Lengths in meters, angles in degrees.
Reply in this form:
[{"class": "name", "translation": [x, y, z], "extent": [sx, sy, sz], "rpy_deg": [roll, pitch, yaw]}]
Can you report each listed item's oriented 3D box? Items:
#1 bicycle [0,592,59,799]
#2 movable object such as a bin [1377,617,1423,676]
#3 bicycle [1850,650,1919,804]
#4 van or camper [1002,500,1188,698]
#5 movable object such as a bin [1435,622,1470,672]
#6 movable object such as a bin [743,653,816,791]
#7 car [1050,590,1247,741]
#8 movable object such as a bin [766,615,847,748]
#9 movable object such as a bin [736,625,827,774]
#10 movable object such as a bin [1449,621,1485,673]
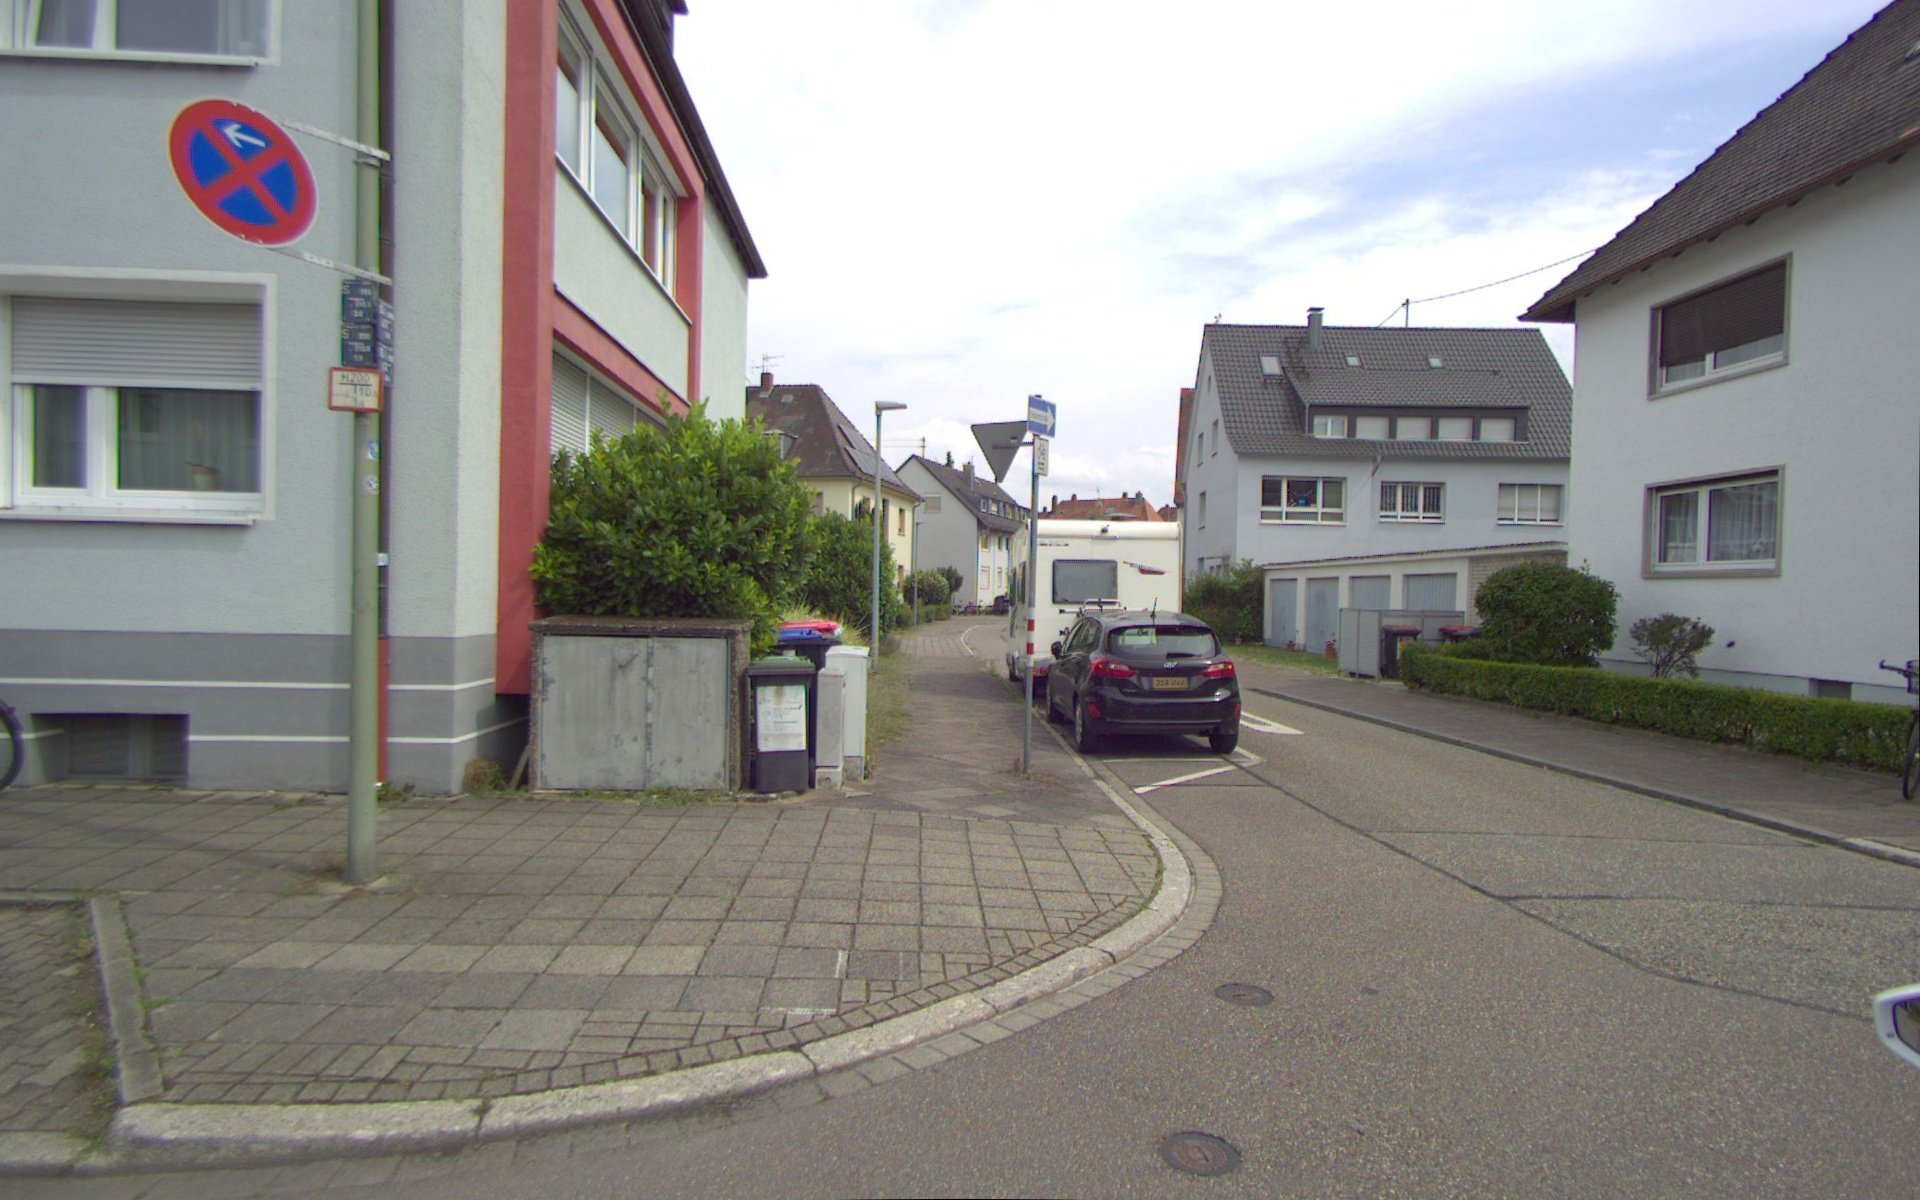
[{"class": "bicycle", "translation": [-6.478, 0.536, 5.876], "extent": [1.837, 1.168, 0.492], "rpy_deg": [1, 5, -4]}, {"class": "movable object such as a bin", "translation": [8.871, 0.938, 20.276], "extent": [0.570, 1.152, 0.754], "rpy_deg": [1, -1, -2]}, {"class": "bicycle", "translation": [7.796, 1.003, 7.665], "extent": [0.427, 1.195, 1.637], "rpy_deg": [1, -1, -7]}, {"class": "van or camper", "translation": [2.048, 0.056, 17.348], "extent": [2.364, 2.761, 6.163], "rpy_deg": [1, -1, 0]}, {"class": "movable object such as a bin", "translation": [9.972, 0.939, 20.334], "extent": [0.446, 0.986, 0.507], "rpy_deg": [1, -1, -2]}, {"class": "movable object such as a bin", "translation": [-1.265, 0.841, 7.079], "extent": [0.467, 0.919, 0.487], "rpy_deg": [1, -1, -9]}, {"class": "car", "translation": [2.019, 0.688, 11.717], "extent": [1.631, 1.441, 3.769], "rpy_deg": [1, -1, 1]}, {"class": "movable object such as a bin", "translation": [-1.381, 0.719, 9.050], "extent": [0.666, 1.147, 0.593], "rpy_deg": [1, -1, -9]}, {"class": "movable object such as a bin", "translation": [-1.410, 0.771, 7.999], "extent": [0.666, 1.128, 0.593], "rpy_deg": [1, -1, -9]}, {"class": "movable object such as a bin", "translation": [9.970, 0.922, 19.768], "extent": [0.446, 0.986, 0.507], "rpy_deg": [1, -1, -2]}]
